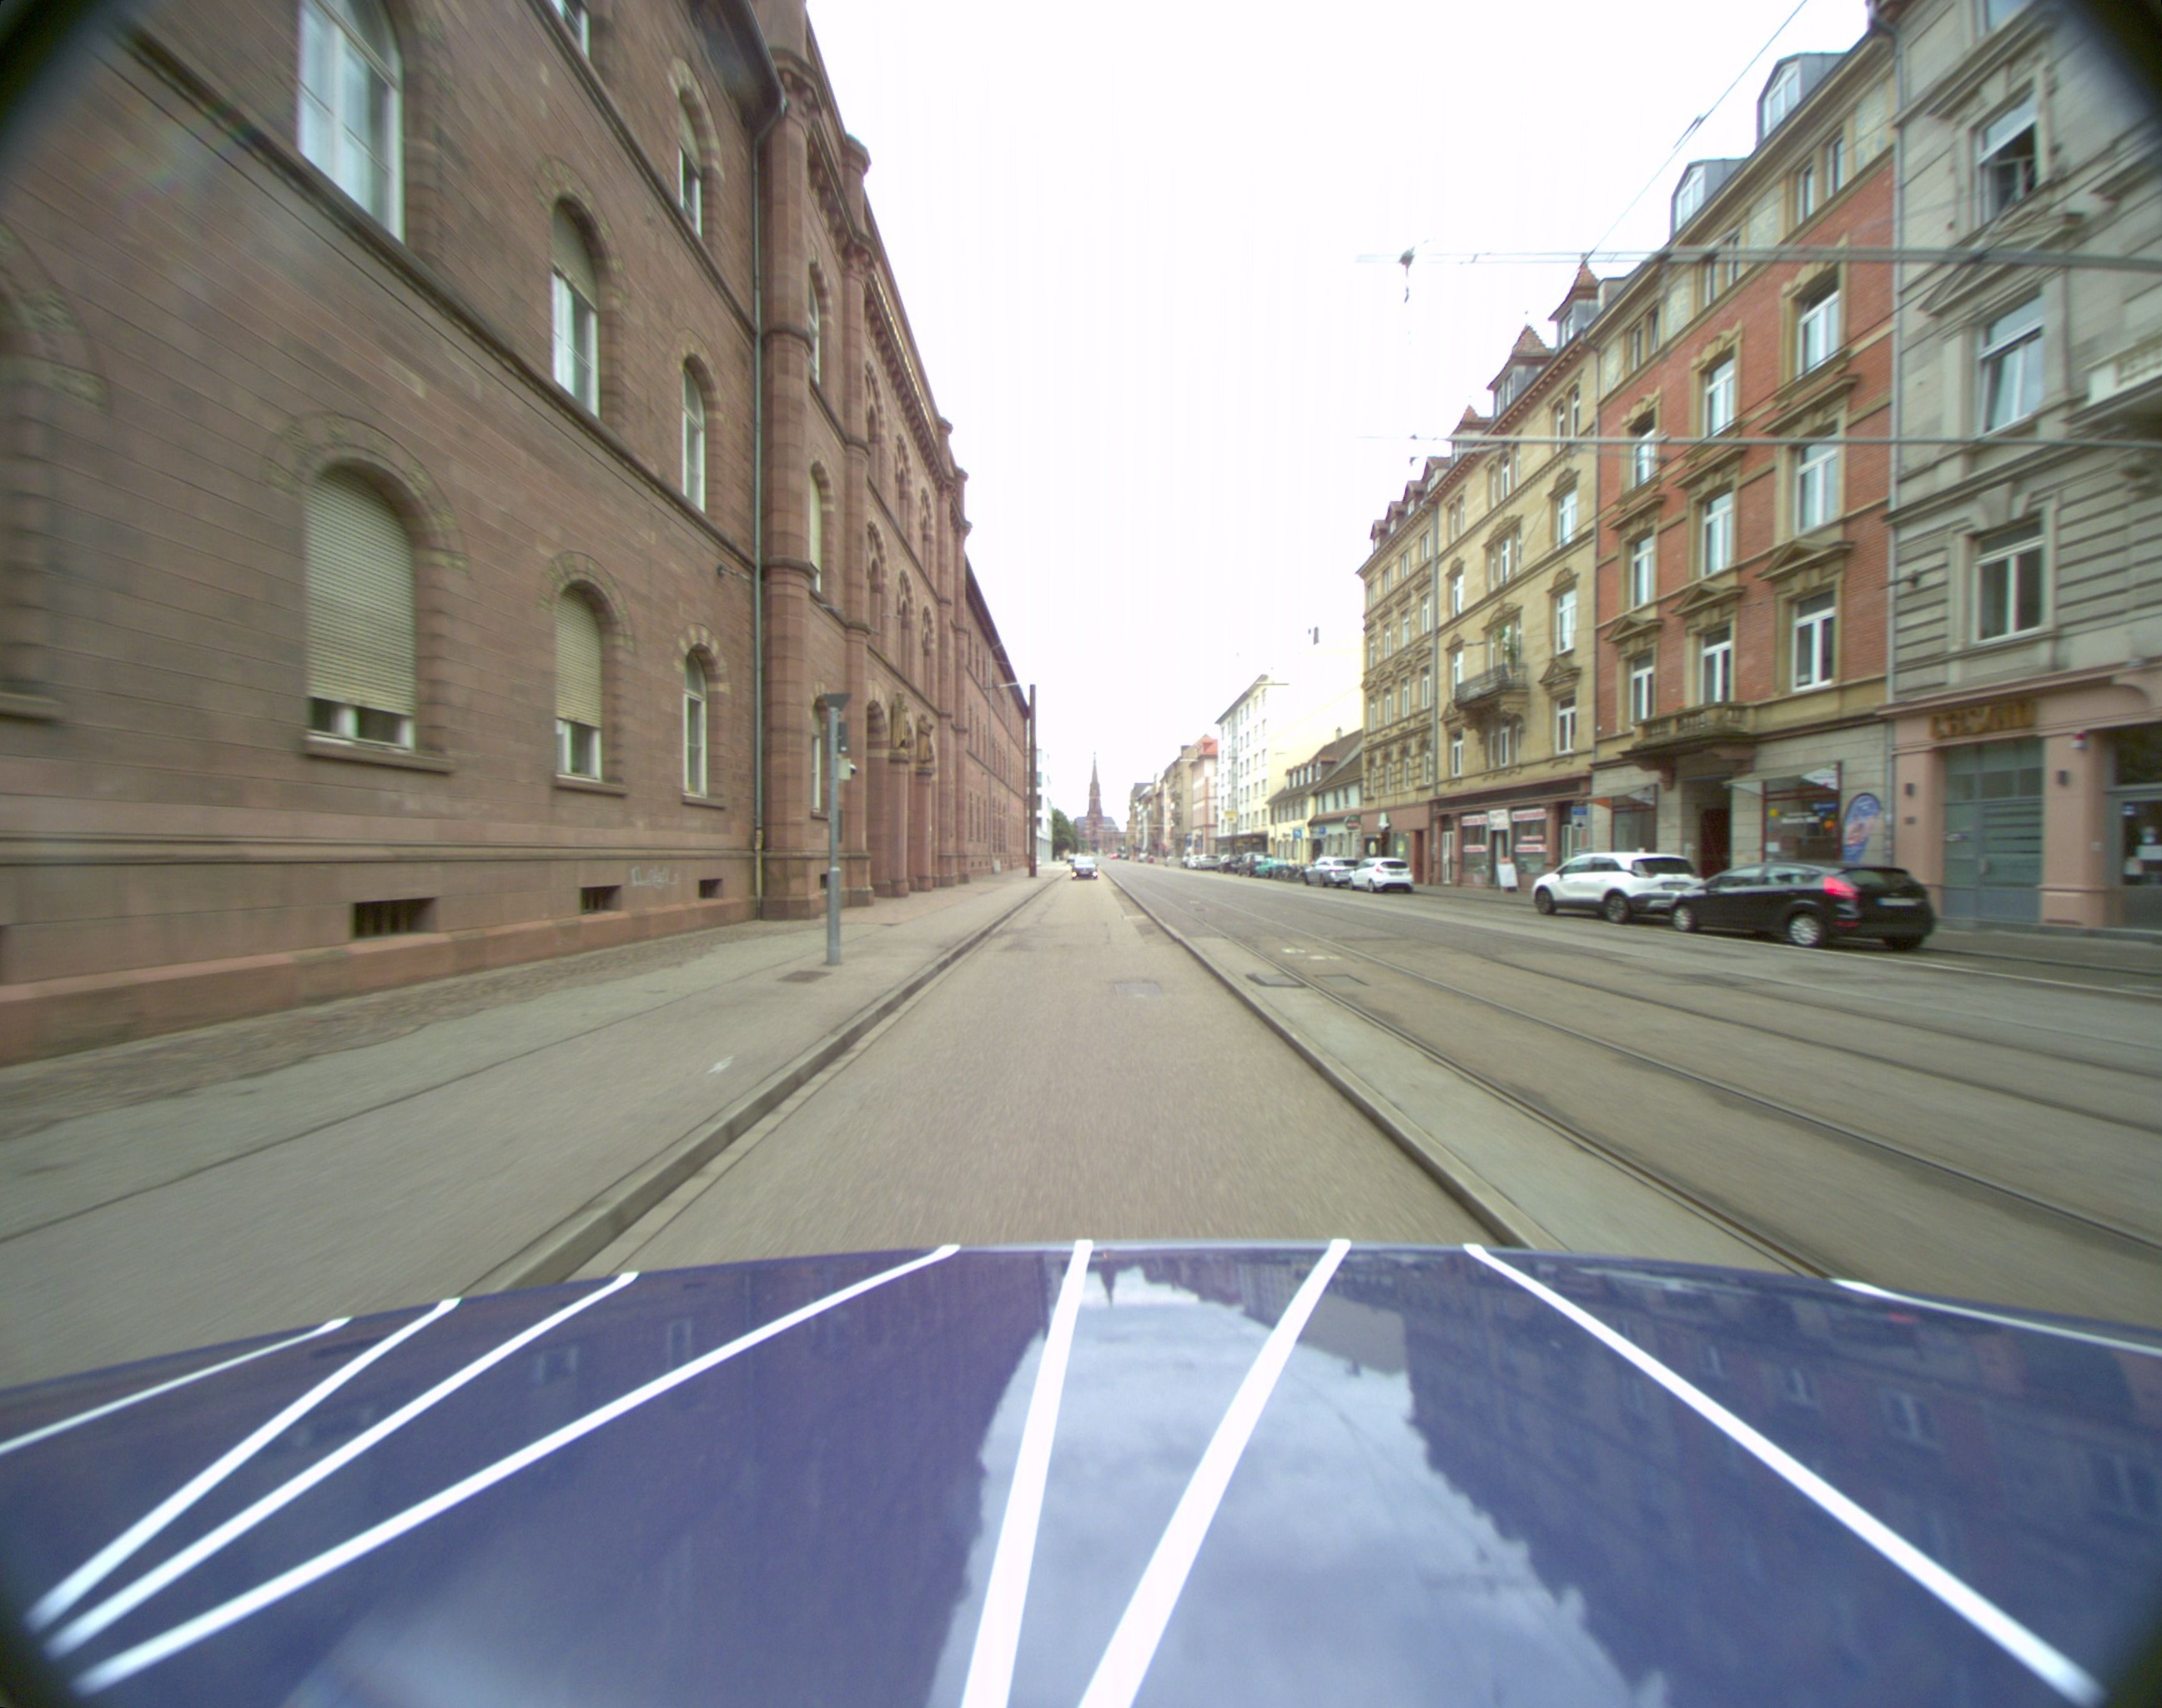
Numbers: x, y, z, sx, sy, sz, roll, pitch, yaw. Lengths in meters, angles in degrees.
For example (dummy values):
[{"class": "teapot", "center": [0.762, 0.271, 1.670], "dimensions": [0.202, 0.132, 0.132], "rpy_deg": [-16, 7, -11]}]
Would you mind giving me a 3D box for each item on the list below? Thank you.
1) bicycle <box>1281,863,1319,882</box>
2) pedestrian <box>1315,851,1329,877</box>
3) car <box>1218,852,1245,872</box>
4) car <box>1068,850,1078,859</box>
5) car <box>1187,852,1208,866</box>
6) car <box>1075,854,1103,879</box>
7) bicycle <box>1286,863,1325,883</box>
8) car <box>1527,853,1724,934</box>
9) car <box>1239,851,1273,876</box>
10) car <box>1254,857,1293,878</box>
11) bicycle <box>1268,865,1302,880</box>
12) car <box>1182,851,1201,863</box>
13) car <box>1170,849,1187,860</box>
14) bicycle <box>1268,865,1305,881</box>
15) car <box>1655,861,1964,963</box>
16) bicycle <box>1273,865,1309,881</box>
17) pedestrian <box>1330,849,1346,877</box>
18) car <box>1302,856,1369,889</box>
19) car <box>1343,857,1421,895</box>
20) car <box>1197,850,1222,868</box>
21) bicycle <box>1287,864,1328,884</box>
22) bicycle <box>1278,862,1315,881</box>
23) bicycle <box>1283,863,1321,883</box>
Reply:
[{"class": "bicycle", "center": [12.927, 1.077, 44.846], "dimensions": [2.044, 1.091, 0.557], "rpy_deg": [-1, 1, 1]}, {"class": "pedestrian", "center": [14.661, 0.603, 46.240], "dimensions": [0.657, 1.607, 0.728], "rpy_deg": [-1, 1, 0]}, {"class": "car", "center": [13.177, 0.662, 66.726], "dimensions": [1.704, 1.662, 4.181], "rpy_deg": [-1, 1, 2]}, {"class": "car", "center": [-1.534, 0.093, 148.038], "dimensions": [1.835, 1.652, 4.000], "rpy_deg": [-1, 1, 1]}, {"class": "car", "center": [12.943, 0.507, 84.744], "dimensions": [1.733, 1.443, 3.826], "rpy_deg": [-1, 1, 0]}, {"class": "car", "center": [0.472, 0.766, 50.129], "dimensions": [1.747, 1.538, 3.650], "rpy_deg": [-1, 1, -1]}, {"class": "bicycle", "center": [12.865, 1.090, 43.533], "dimensions": [2.044, 1.091, 0.557], "rpy_deg": [-1, 1, 1]}, {"class": "car", "center": [12.675, 0.836, 18.056], "dimensions": [1.748, 1.663, 4.046], "rpy_deg": [1, 0, 0]}, {"class": "car", "center": [12.989, 0.685, 56.622], "dimensions": [1.707, 1.747, 3.920], "rpy_deg": [1, 1, 2]}, {"class": "car", "center": [13.148, 0.873, 51.972], "dimensions": [1.651, 1.373, 3.435], "rpy_deg": [1, 0, -3]}, {"class": "bicycle", "center": [13.240, 1.195, 49.319], "dimensions": [2.044, 0.928, 0.557], "rpy_deg": [-1, 1, -2]}, {"class": "car", "center": [13.215, 0.387, 91.055], "dimensions": [1.733, 1.336, 3.246], "rpy_deg": [-1, 1, 0]}, {"class": "car", "center": [13.946, 0.027, 108.712], "dimensions": [1.867, 1.553, 4.000], "rpy_deg": [2, 1, 1]}, {"class": "bicycle", "center": [12.924, 1.189, 47.801], "dimensions": [2.126, 0.928, 0.557], "rpy_deg": [-1, 1, -2]}, {"class": "car", "center": [12.550, 0.900, 13.508], "dimensions": [1.748, 1.479, 3.920], "rpy_deg": [1, 0, 1]}, {"class": "bicycle", "center": [13.031, 1.191, 47.115], "dimensions": [2.044, 0.928, 0.557], "rpy_deg": [-1, 1, 2]}, {"class": "pedestrian", "center": [15.574, 0.539, 46.061], "dimensions": [0.657, 1.702, 0.753], "rpy_deg": [-1, 1, 0]}, {"class": "car", "center": [12.410, 0.868, 37.353], "dimensions": [1.829, 1.512, 4.545], "rpy_deg": [1, 0, 1]}, {"class": "car", "center": [12.826, 0.906, 32.656], "dimensions": [1.748, 1.456, 4.046], "rpy_deg": [1, 0, 0]}, {"class": "car", "center": [13.148, 0.524, 77.863], "dimensions": [1.928, 1.722, 3.826], "rpy_deg": [-1, 1, 0]}, {"class": "bicycle", "center": [12.773, 1.123, 42.899], "dimensions": [2.139, 1.091, 0.557], "rpy_deg": [-1, 1, 1]}, {"class": "bicycle", "center": [12.882, 1.064, 45.453], "dimensions": [2.044, 1.091, 0.557], "rpy_deg": [-1, 1, 1]}, {"class": "bicycle", "center": [12.864, 1.109, 44.169], "dimensions": [2.044, 1.091, 0.557], "rpy_deg": [-1, 1, 1]}]
